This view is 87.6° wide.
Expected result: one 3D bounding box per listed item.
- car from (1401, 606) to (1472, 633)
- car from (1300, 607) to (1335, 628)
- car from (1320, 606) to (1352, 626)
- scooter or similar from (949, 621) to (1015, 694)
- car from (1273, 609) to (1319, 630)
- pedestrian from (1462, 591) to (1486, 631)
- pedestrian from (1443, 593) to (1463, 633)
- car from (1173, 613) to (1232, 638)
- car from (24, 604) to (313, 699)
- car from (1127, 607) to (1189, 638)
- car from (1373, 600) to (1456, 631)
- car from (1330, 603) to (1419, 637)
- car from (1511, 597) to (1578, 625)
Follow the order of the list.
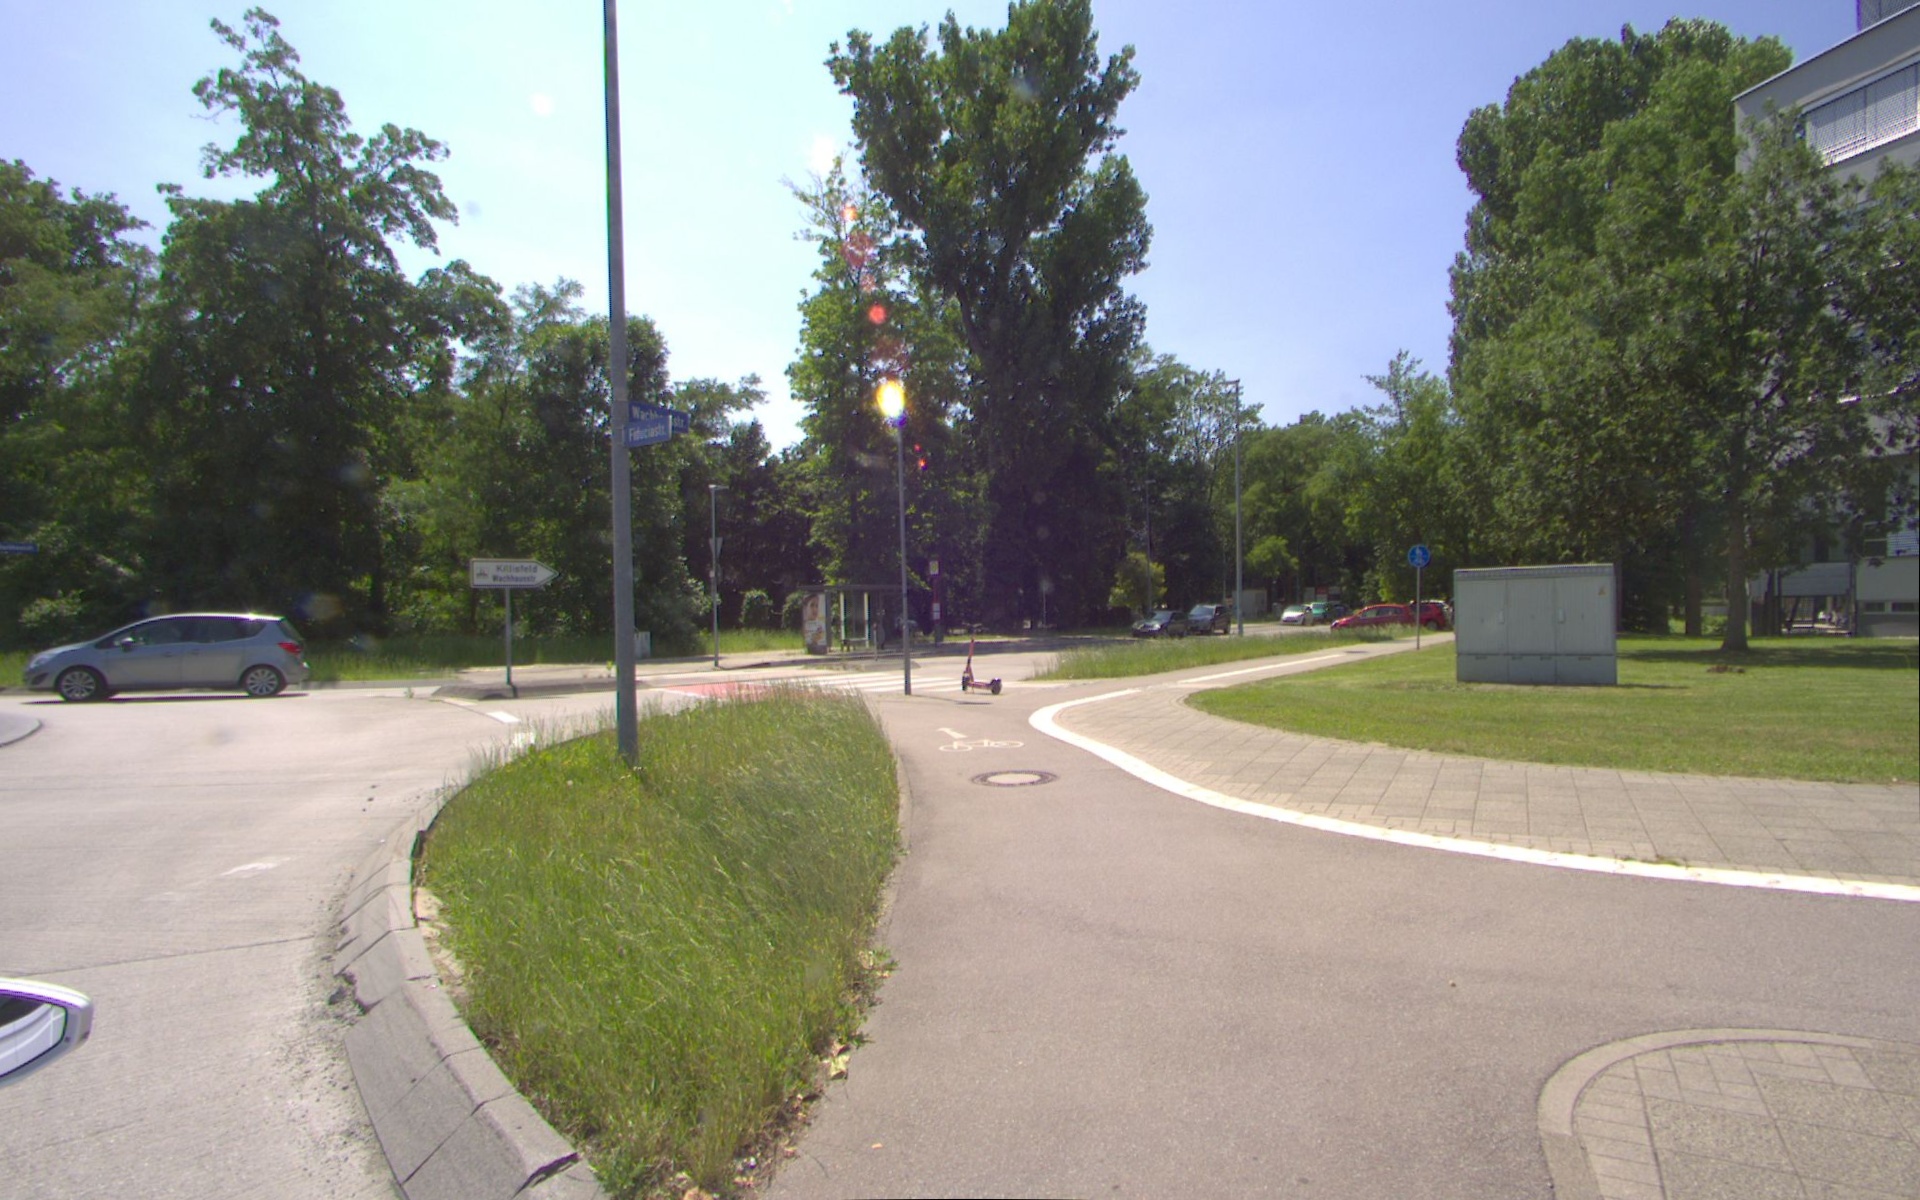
[{"bbox_3d":[28.028,1.151,58.925,3.632,1.502,1.860,-2,-1,32],"label":"car"},{"bbox_3d":[27.199,1.338,76.179,1.713,1.563,3.425,-1,-2,34],"label":"car"},{"bbox_3d":[30.473,1.296,81.112,1.711,1.513,3.427,-1,0,32],"label":"car"},{"bbox_3d":[0.367,0.982,17.409,0.442,1.217,1.391,0,-1,-31],"label":"scooter or similar"},{"bbox_3d":[24.447,1.415,72.795,1.975,1.488,3.973,-2,-2,37],"label":"car"},{"bbox_3d":[21.126,0.471,41.159,0.564,1.629,0.641,0,-1,-28],"label":"pedestrian"},{"bbox_3d":[20.357,0.543,41.360,0.476,1.637,0.588,-1,-1,-2],"label":"pedestrian"},{"bbox_3d":[13.841,1.434,57.006,1.973,1.327,3.976,-2,-2,35],"label":"car"},{"bbox_3d":[-14.743,0.921,18.985,4.069,1.627,1.781,0,-1,-31],"label":"car"},{"bbox_3d":[10.370,1.149,52.172,1.680,1.506,3.976,2,0,35],"label":"car"},{"bbox_3d":[22.941,0.811,50.531,3.632,1.502,1.860,-2,-1,32],"label":"car"},{"bbox_3d":[19.394,0.948,46.878,3.632,1.502,1.860,-2,-1,32],"label":"car"},{"bbox_3d":[44.502,0.875,76.299,1.968,2.039,3.987,0,-1,-24],"label":"car"}]
